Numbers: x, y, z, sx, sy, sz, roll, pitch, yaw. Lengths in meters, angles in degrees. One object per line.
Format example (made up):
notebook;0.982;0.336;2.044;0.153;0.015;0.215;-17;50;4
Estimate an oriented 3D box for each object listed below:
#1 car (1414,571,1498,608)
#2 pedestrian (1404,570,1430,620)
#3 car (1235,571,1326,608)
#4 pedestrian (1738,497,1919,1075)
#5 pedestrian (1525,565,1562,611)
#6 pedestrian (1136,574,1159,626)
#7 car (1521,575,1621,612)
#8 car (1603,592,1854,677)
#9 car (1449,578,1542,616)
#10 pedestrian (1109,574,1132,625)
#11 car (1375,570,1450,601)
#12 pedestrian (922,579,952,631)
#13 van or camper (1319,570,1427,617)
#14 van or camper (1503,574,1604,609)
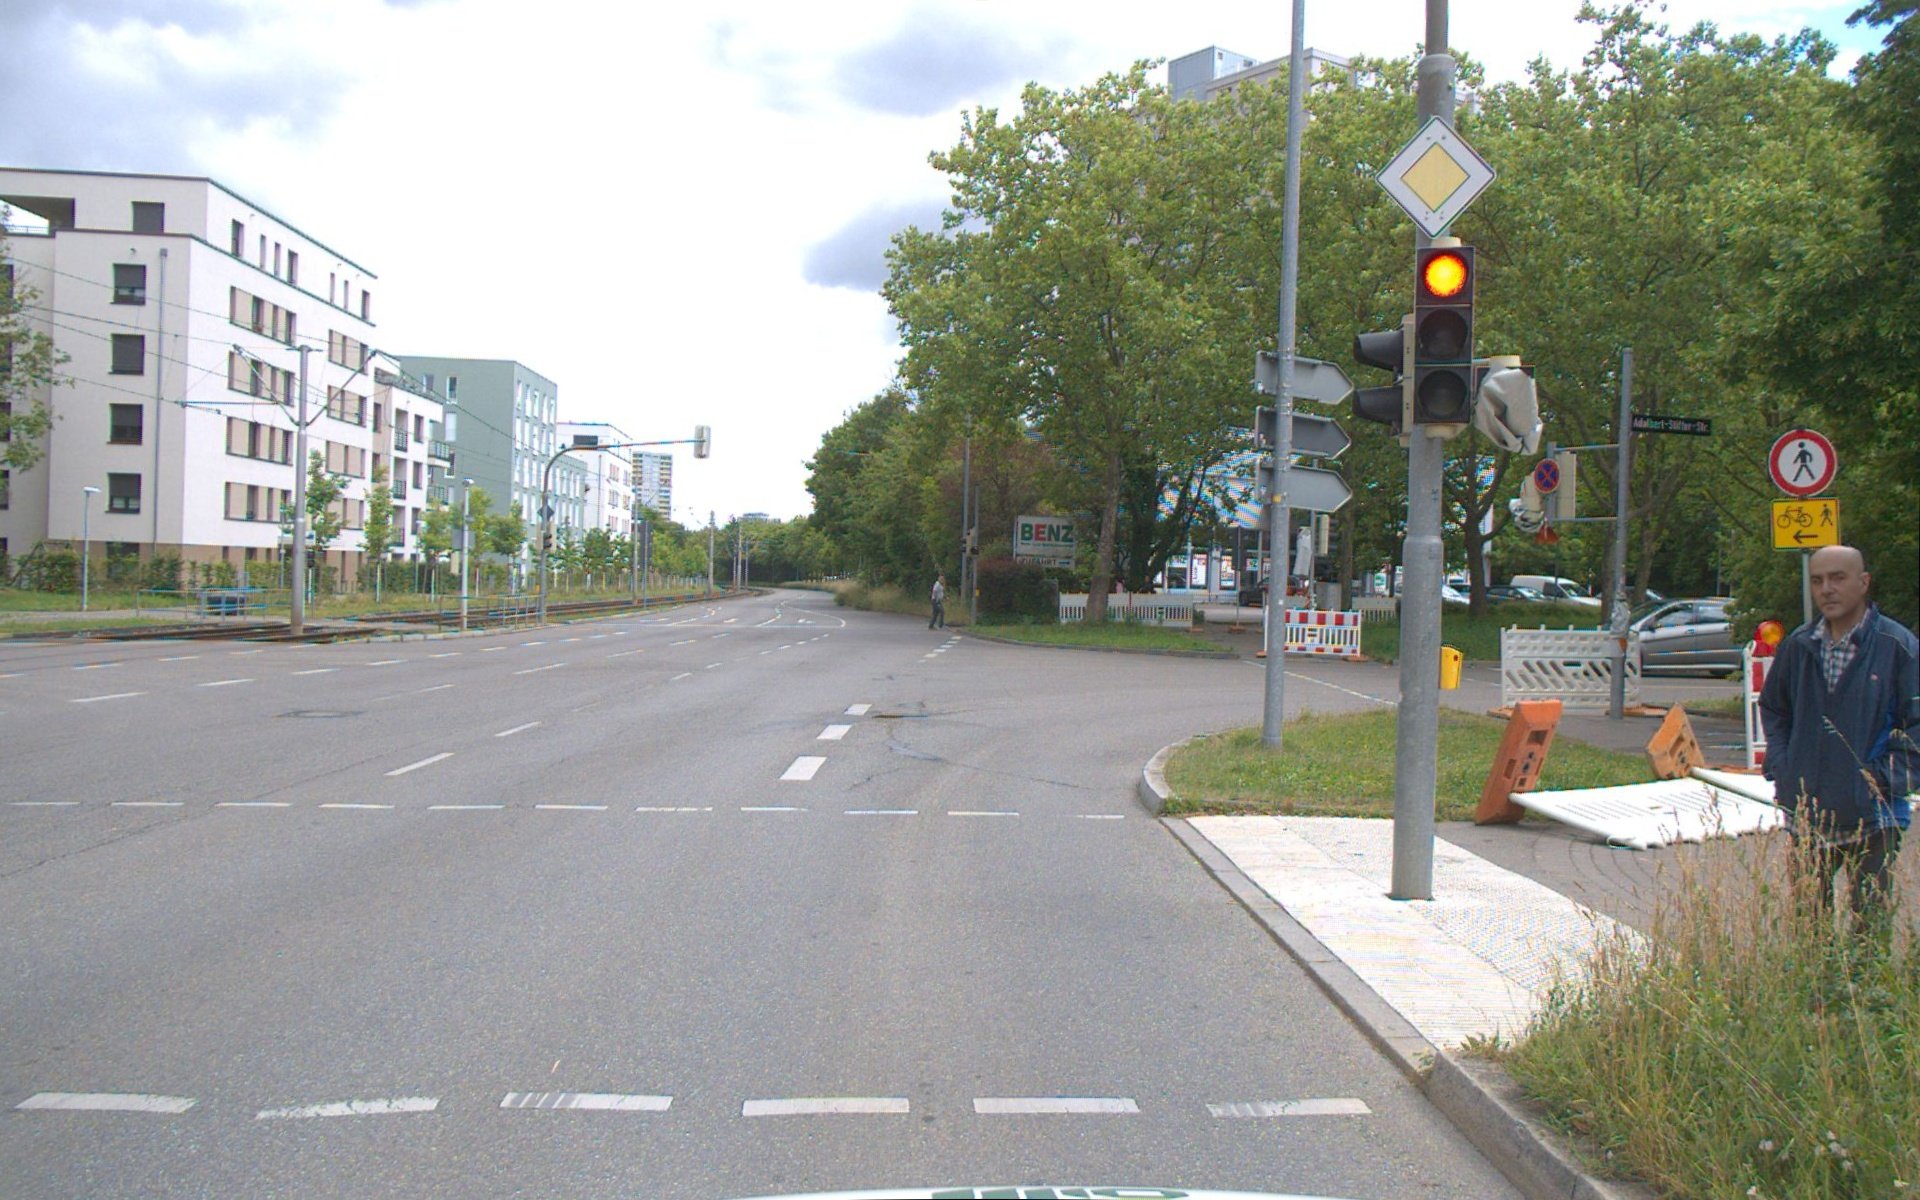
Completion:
car;24.054;-0.504;80.246;1.650;1.663;3.783;1;1;-31
pedestrian;19.055;-0.204;68.946;0.788;2.037;0.853;1;-1;-4
car;14.063;-0.449;72.723;1.708;1.526;4.232;1;0;-27
pedestrian;3.063;0.565;5.556;0.712;1.770;0.954;1;0;31
pedestrian;24.346;-0.502;69.045;1.052;1.904;1.058;1;-1;-8
pedestrian;5.606;-0.002;49.459;0.682;1.515;0.721;1;-1;6
car;25.542;-0.254;69.245;1.465;1.491;3.851;1;0;-31
car;15.667;0.685;33.856;4.307;1.614;1.772;1;0;0
car;21.097;-0.124;65.248;1.464;1.429;3.375;1;0;-30
pedestrian;4.836;-0.023;49.878;0.682;1.515;0.688;1;-1;5
car;21.469;-0.692;78.548;1.465;1.429;3.372;1;0;-31
pedestrian;-0.723;0.153;51.995;0.830;1.614;0.796;1;-1;4
van or camper;15.491;-0.260;62.228;1.819;1.713;3.964;0;1;-28
van or camper;24.066;-0.339;67.194;1.499;1.380;3.732;1;0;-33
